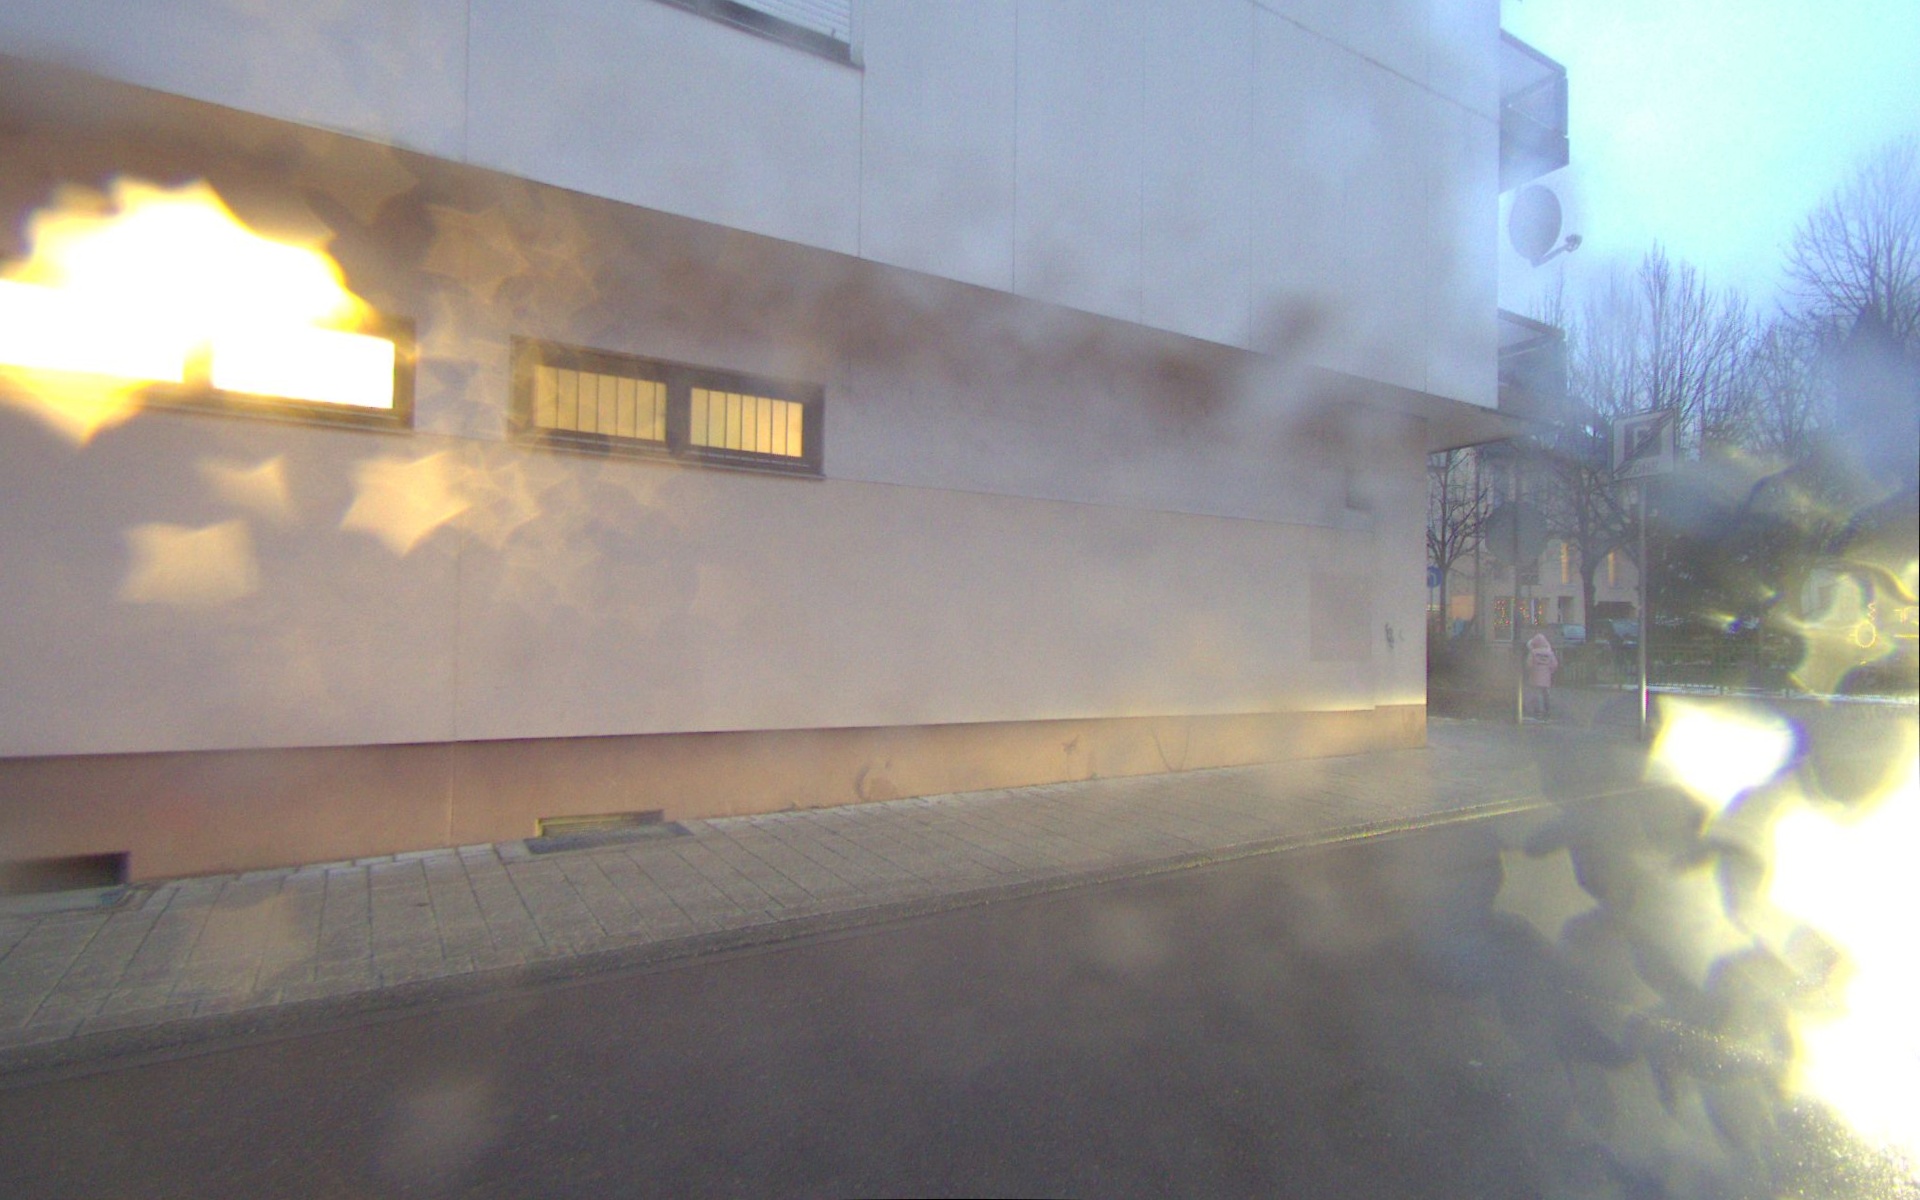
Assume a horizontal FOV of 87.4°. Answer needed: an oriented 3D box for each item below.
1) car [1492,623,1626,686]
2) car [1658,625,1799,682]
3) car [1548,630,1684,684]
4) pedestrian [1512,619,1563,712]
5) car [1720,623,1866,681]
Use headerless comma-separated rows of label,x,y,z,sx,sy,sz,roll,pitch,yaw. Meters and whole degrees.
car,20.444,1.801,34.477,1.786,2.015,3.993,0,-1,-10
car,28.155,1.916,36.976,1.786,1.936,3.993,0,-1,-10
car,23.043,1.959,35.481,1.786,1.753,3.993,0,-1,-10
pedestrian,9.422,1.051,16.413,0.638,1.478,0.650,0,0,24
car,31.054,1.897,37.600,1.786,2.025,3.993,0,-1,-10
